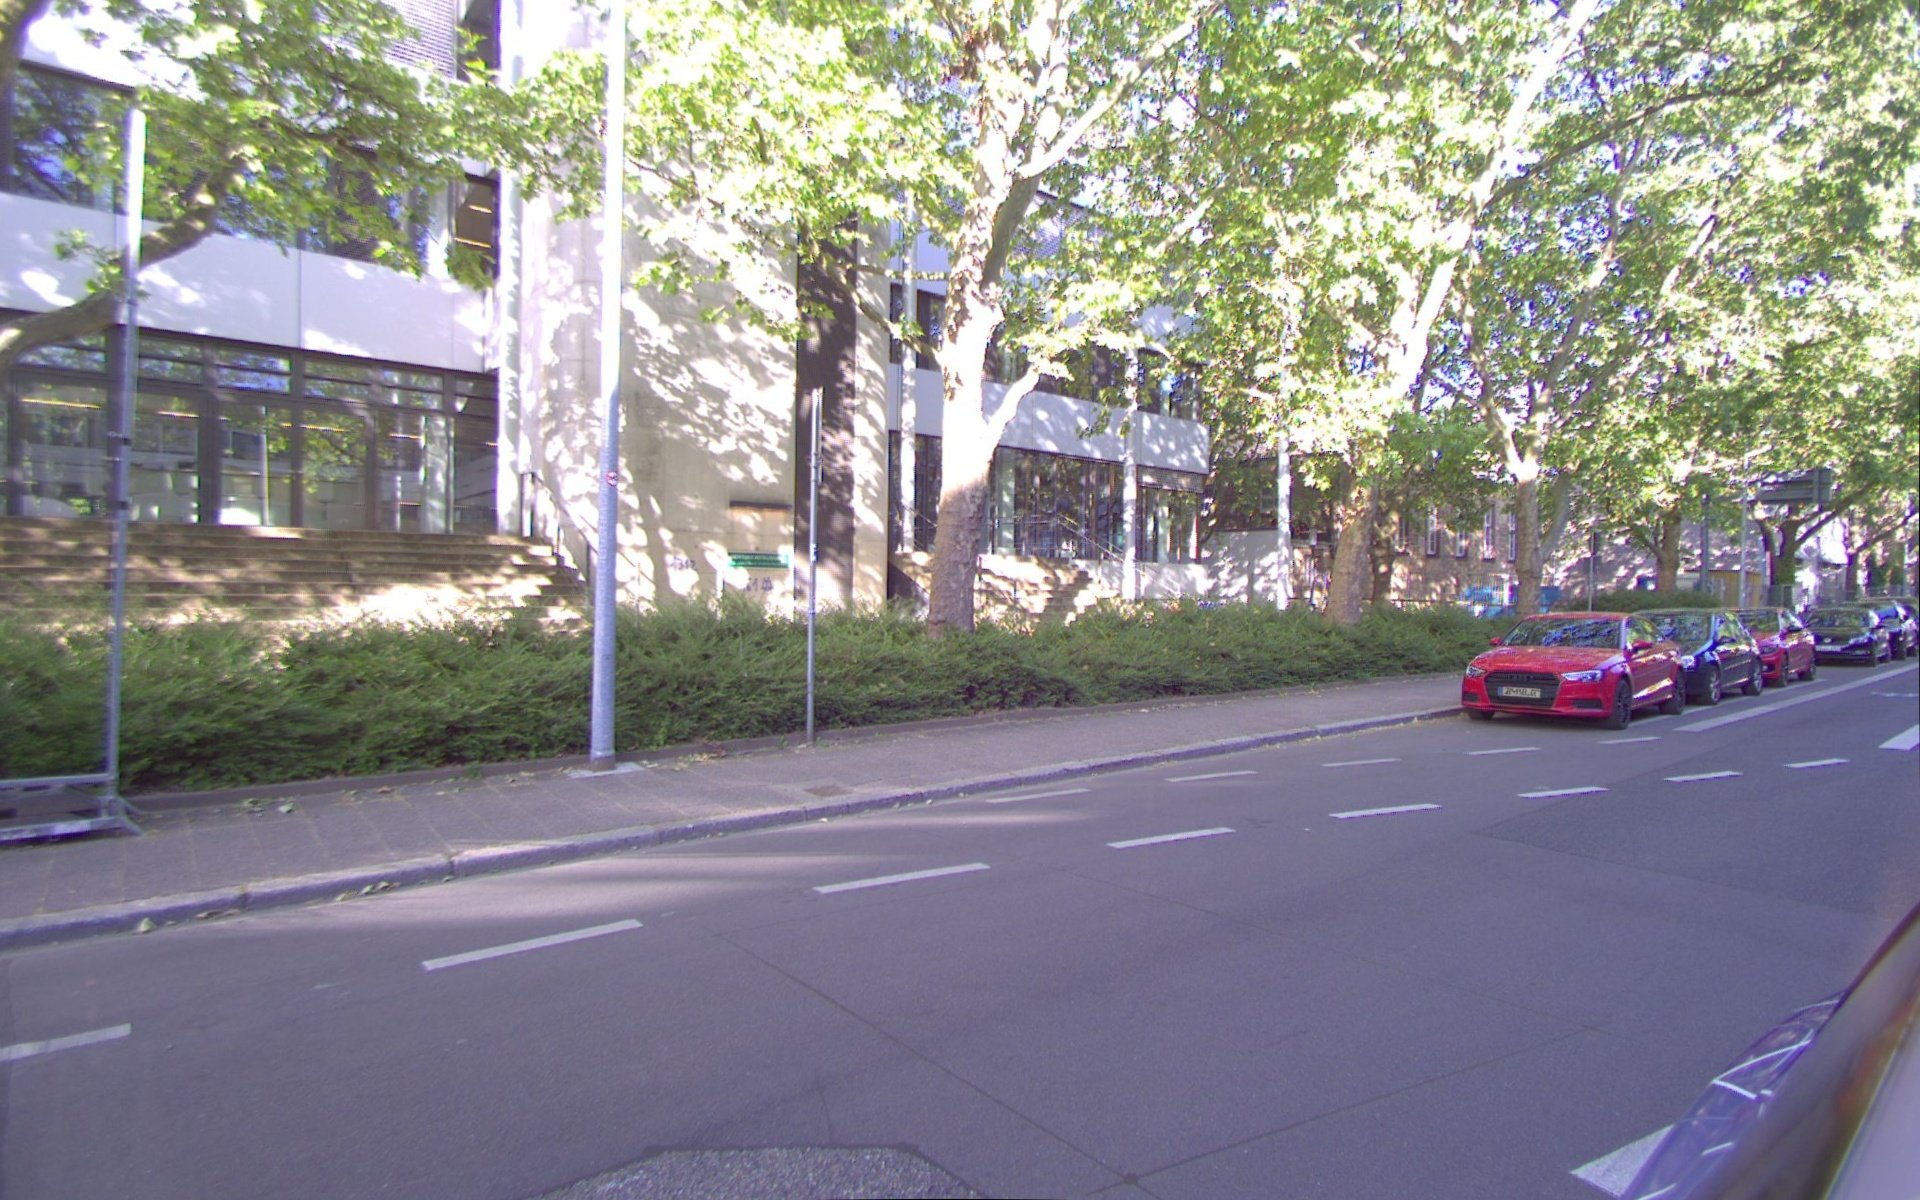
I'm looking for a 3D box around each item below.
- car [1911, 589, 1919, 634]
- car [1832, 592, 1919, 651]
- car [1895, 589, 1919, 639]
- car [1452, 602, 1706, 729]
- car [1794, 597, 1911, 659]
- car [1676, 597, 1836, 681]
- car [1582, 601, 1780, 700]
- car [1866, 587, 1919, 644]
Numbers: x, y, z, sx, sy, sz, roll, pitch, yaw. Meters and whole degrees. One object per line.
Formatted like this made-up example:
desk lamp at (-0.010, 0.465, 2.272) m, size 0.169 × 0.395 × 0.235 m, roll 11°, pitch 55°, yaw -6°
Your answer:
car at (39.636, 0.435, 40.398) m, size 4.475 × 1.777 × 2.040 m, roll 0°, pitch -1°, yaw -42°
car at (26.604, 0.586, 29.130) m, size 4.092 × 1.573 × 1.788 m, roll 0°, pitch -1°, yaw -42°
car at (35.918, 0.480, 37.248) m, size 4.475 × 1.777 × 1.788 m, roll 0°, pitch -1°, yaw -42°
car at (8.367, 0.752, 13.546) m, size 4.092 × 1.431 × 1.815 m, roll 0°, pitch -1°, yaw -42°
car at (23.059, 0.677, 26.099) m, size 4.092 × 1.478 × 1.788 m, roll 0°, pitch -1°, yaw -42°
car at (15.867, 0.699, 20.106) m, size 4.092 × 1.502 × 1.815 m, roll 0°, pitch -1°, yaw -42°
car at (11.961, 0.737, 16.685) m, size 4.092 × 1.431 × 1.815 m, roll 0°, pitch -1°, yaw -42°
car at (31.065, 0.485, 33.013) m, size 4.271 × 1.777 × 1.788 m, roll 0°, pitch -1°, yaw -42°
